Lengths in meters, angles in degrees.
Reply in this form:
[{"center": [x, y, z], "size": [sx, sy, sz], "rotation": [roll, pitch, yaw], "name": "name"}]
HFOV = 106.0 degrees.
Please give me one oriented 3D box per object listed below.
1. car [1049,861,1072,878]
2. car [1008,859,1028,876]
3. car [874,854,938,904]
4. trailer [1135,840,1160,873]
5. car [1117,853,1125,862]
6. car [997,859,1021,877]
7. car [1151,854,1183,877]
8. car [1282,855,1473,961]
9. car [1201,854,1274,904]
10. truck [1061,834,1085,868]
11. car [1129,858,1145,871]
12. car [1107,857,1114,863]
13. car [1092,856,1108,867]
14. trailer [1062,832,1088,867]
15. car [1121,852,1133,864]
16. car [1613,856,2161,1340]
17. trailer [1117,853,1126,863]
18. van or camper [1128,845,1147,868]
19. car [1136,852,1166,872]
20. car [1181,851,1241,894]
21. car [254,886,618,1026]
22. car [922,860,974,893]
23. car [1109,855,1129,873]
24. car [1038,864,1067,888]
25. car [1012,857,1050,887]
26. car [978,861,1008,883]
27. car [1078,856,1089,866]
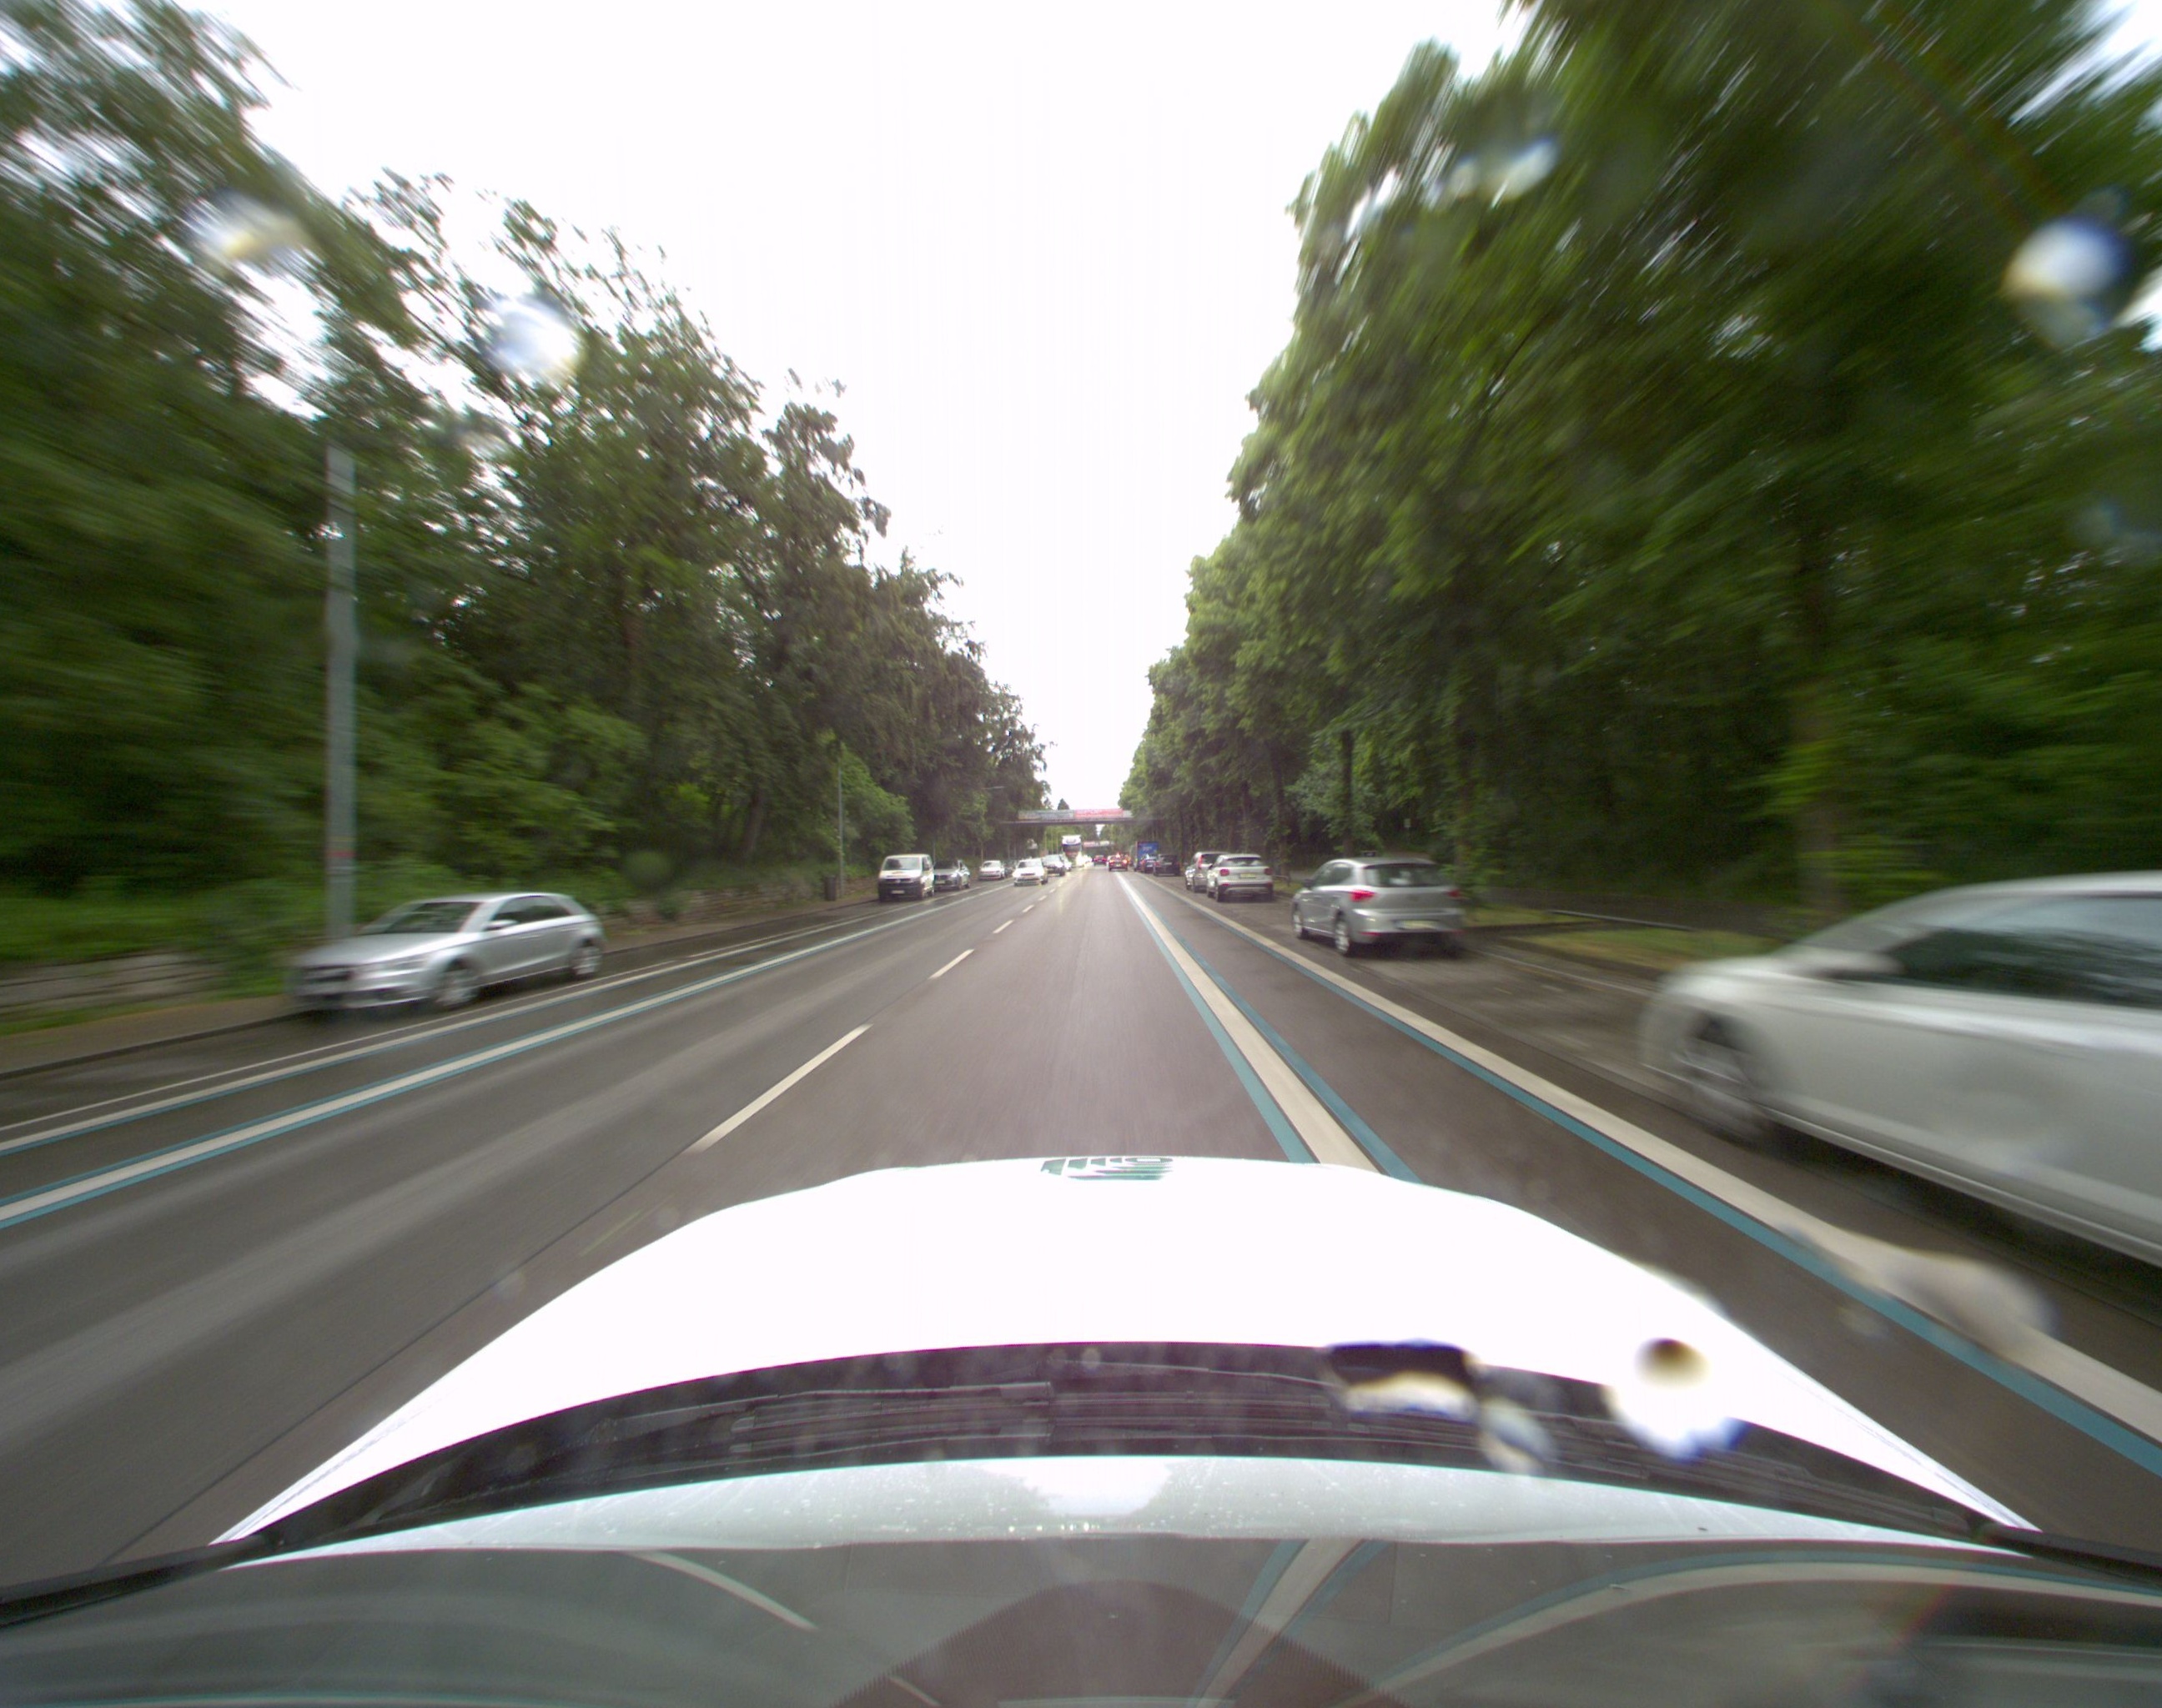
[{"center": [-1.988, 1.533, 80.659], "size": [1.908, 1.456, 4.623], "rotation": [-4, 0, 2], "name": "car"}, {"center": [-6.403, 1.354, 83.153], "size": [1.682, 1.546, 4.233], "rotation": [-2, 0, 0], "name": "car"}, {"center": [-7.686, 1.024, 36.199], "size": [1.969, 2.005, 5.013], "rotation": [-1, 0, -3], "name": "car"}, {"center": [5.774, 0.220, 71.087], "size": [1.945, 2.758, 4.008], "rotation": [-1, 0, 1], "name": "trailer"}, {"center": [9.796, 0.935, 201.529], "size": [1.881, 2.127, 4.047], "rotation": [-2, -1, 2], "name": "car"}, {"center": [-6.316, 1.255, 72.194], "size": [1.826, 1.477, 4.038], "rotation": [-2, 0, -2], "name": "car"}, {"center": [5.885, 0.780, 56.176], "size": [1.819, 1.503, 4.571], "rotation": [-2, 0, 1], "name": "car"}, {"center": [4.601, 0.747, 13.300], "size": [1.692, 1.453, 4.098], "rotation": [0, 0, 1], "name": "car"}, {"center": [5.122, 0.764, 27.156], "size": [1.691, 1.513, 4.471], "rotation": [0, 0, 2], "name": "car"}, {"center": [-1.003, -0.411, 102.801], "size": [2.508, 4.046, 4.919], "rotation": [-4, 0, 3], "name": "truck"}, {"center": [6.463, 1.231, 94.940], "size": [1.680, 1.416, 4.101], "rotation": [-1, 0, 2], "name": "car"}, {"center": [7.363, 1.506, 202.172], "size": [1.725, 1.583, 4.037], "rotation": [-2, -1, 1], "name": "car"}, {"center": [2.658, 1.078, 115.623], "size": [2.134, 1.492, 4.497], "rotation": [0, 0, -1], "name": "car"}, {"center": [-0.690, -0.506, 109.857], "size": [2.678, 4.259, 12.773], "rotation": [-4, 0, 2], "name": "trailer"}, {"center": [7.999, 0.767, 141.421], "size": [1.919, 2.022, 4.665], "rotation": [0, 0, 2], "name": "car"}, {"center": [4.131, 0.741, 3.092], "size": [1.692, 1.453, 3.947], "rotation": [0, 0, 1], "name": "car"}, {"center": [9.277, 0.940, 184.770], "size": [1.877, 2.166, 3.809], "rotation": [-2, -1, 2], "name": "trailer"}, {"center": [7.024, 0.351, 102.085], "size": [2.035, 2.729, 6.900], "rotation": [0, 0, 1], "name": "van or camper"}, {"center": [5.540, 0.620, 65.125], "size": [1.894, 1.547, 4.753], "rotation": [0, 0, -1], "name": "car"}, {"center": [5.187, 0.704, 33.004], "size": [1.747, 1.597, 4.741], "rotation": [-1, 0, 1], "name": "car"}, {"center": [-8.548, 1.252, 11.347], "size": [1.683, 1.405, 4.031], "rotation": [-1, 0, 3], "name": "car"}, {"center": [-7.286, 1.205, 45.041], "size": [2.003, 1.605, 4.779], "rotation": [-2, 0, 0], "name": "car"}, {"center": [3.500, 0.905, 75.385], "size": [1.811, 1.508, 4.141], "rotation": [-1, 0, 2], "name": "car"}, {"center": [-2.160, 1.660, 62.693], "size": [1.954, 1.617, 4.467], "rotation": [-3, 0, 1], "name": "car"}, {"center": [-2.780, 0.981, 46.123], "size": [1.770, 1.466, 4.063], "rotation": [-4, 0, 0], "name": "car"}, {"center": [-6.633, 1.368, 61.718], "size": [1.784, 1.482, 3.981], "rotation": [-2, 0, -1], "name": "car"}, {"center": [0.525, 1.345, 149.102], "size": [1.828, 1.666, 4.181], "rotation": [-4, 0, 1], "name": "car"}]
